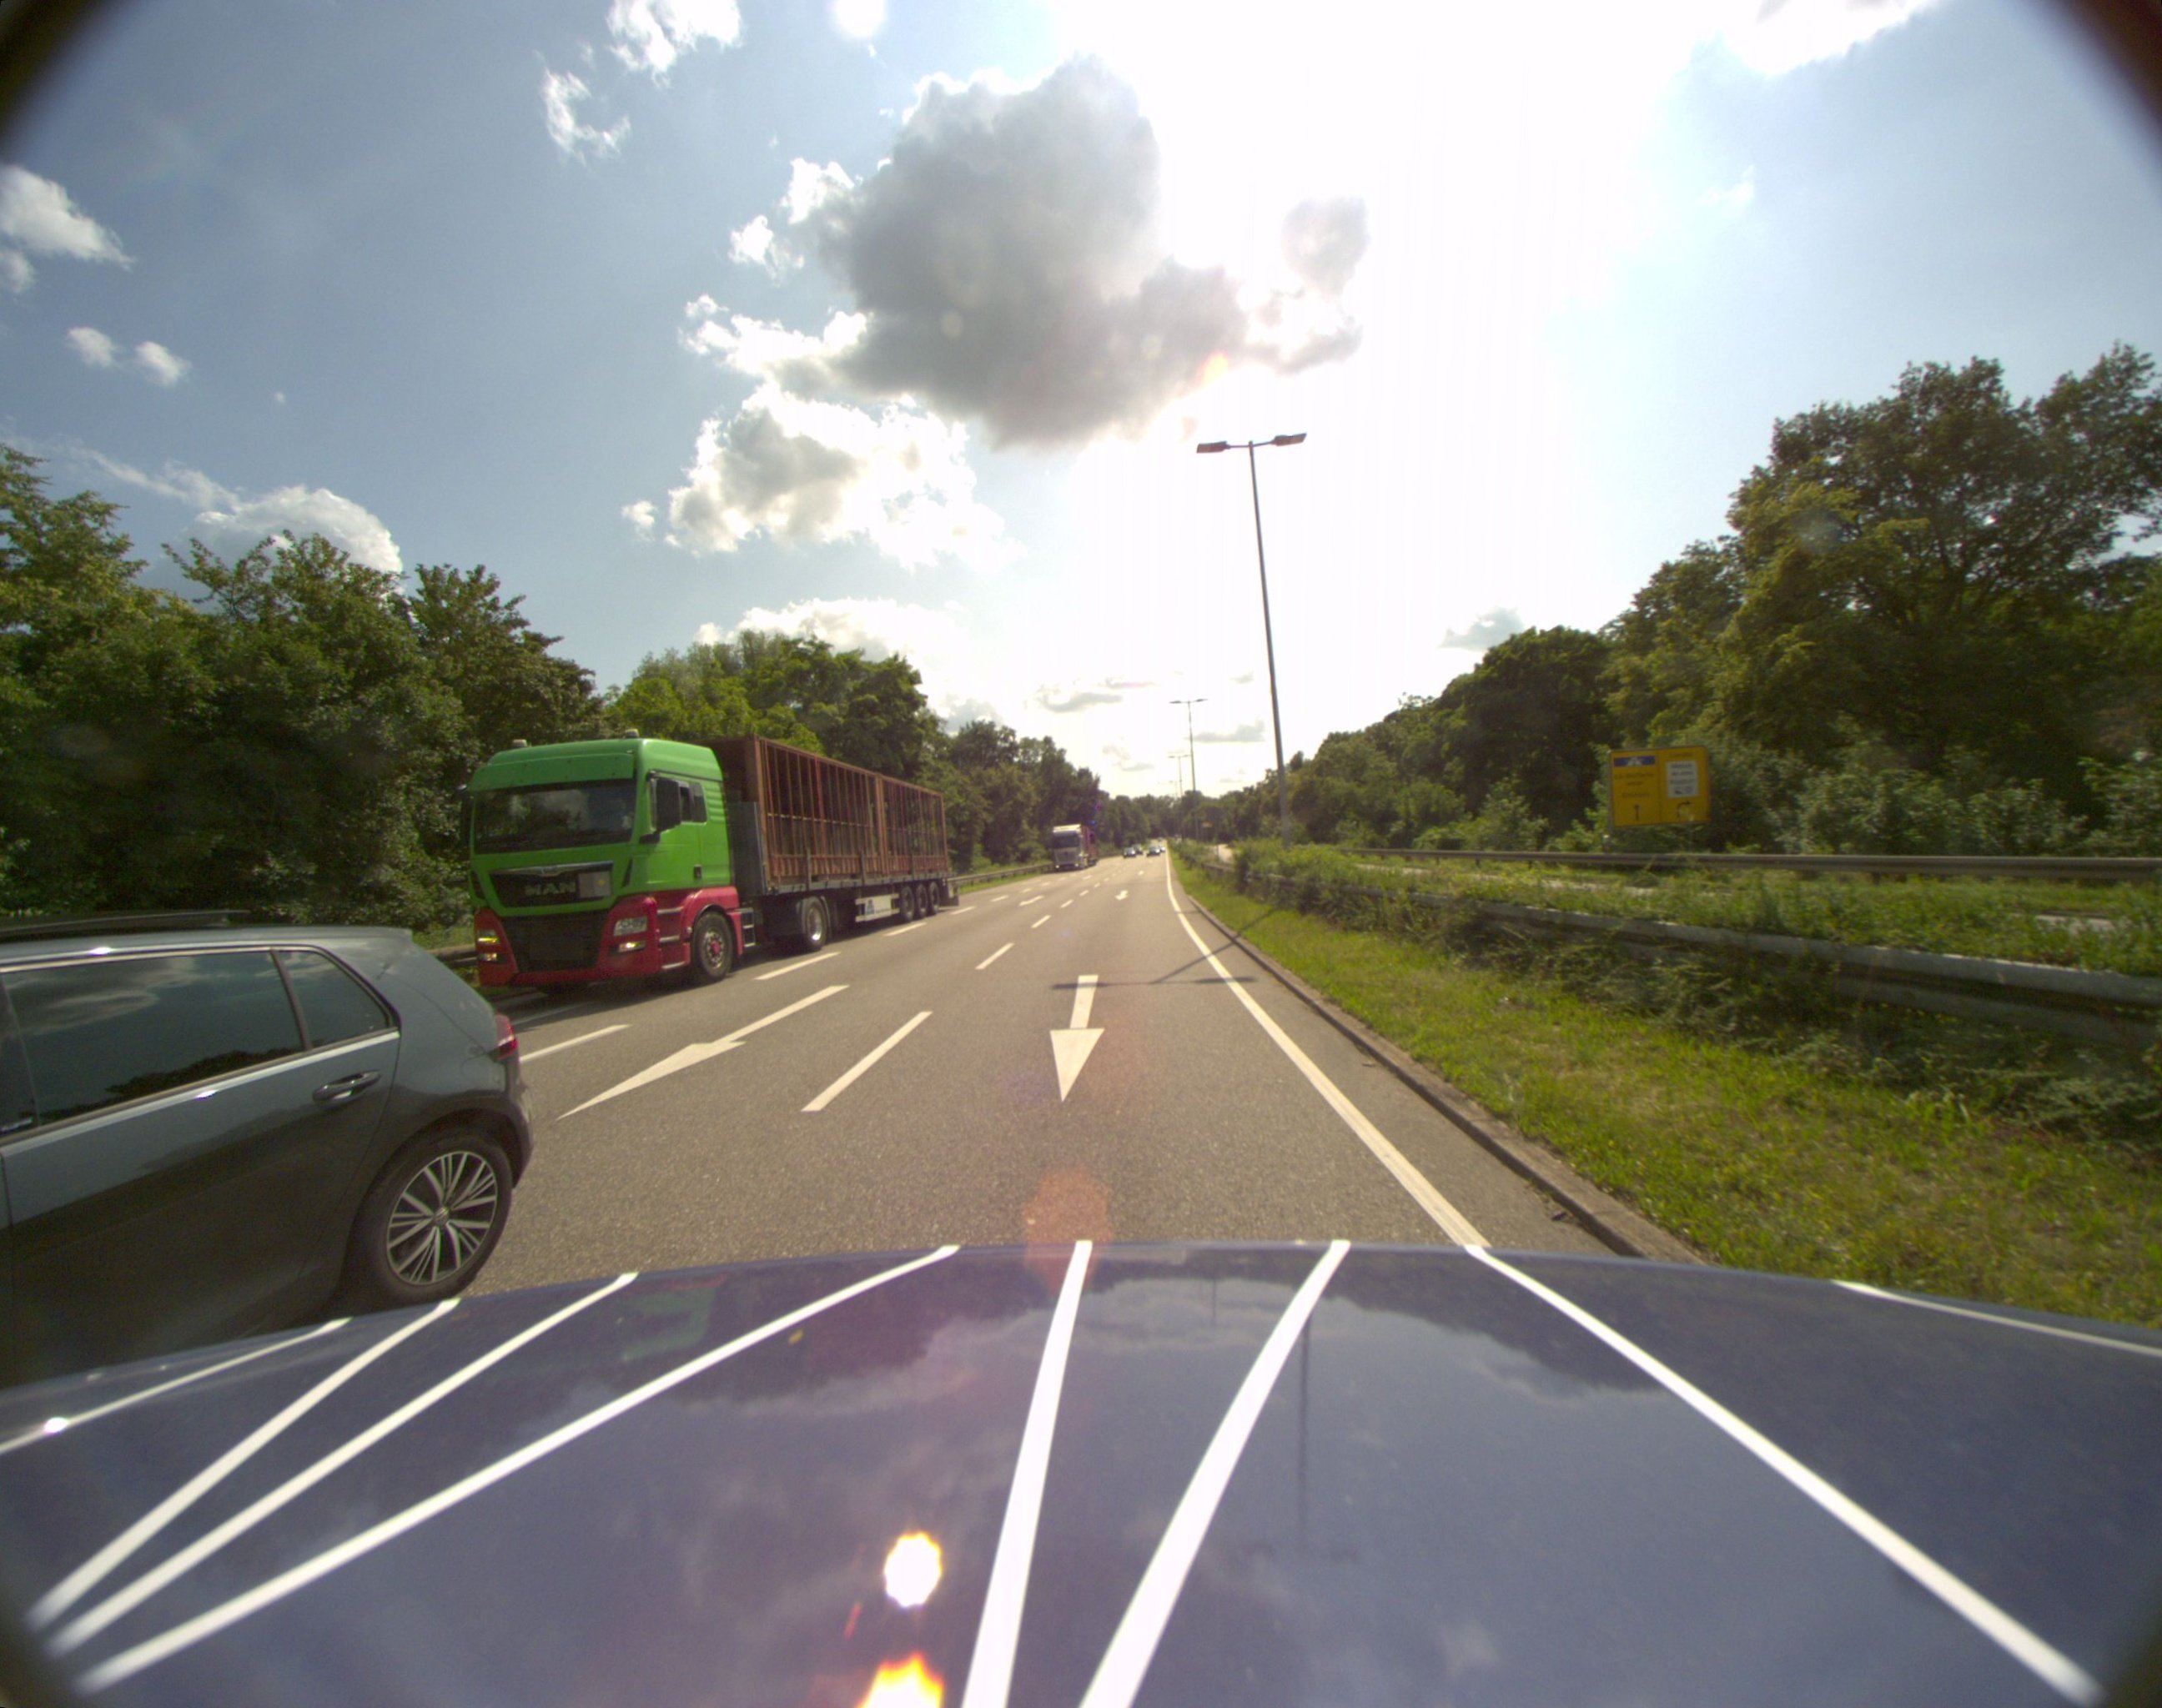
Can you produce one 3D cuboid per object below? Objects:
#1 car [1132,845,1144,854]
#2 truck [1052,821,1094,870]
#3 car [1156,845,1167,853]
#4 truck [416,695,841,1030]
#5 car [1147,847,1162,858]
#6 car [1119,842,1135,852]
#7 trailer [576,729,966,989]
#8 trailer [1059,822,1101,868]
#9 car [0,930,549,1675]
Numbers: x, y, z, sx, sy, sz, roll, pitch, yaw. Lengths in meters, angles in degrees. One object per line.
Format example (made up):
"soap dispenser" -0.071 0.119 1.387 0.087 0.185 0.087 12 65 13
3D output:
"car" 9.593 -0.726 127.576 1.998 1.330 4.001 -3 0 5
"truck" -0.643 -0.742 68.861 2.690 3.948 7.386 -5 0 6
"car" 14.233 -0.926 133.459 1.796 1.368 4.002 -3 0 7
"truck" -6.476 0.115 12.260 2.590 3.871 6.063 -5 0 4
"car" 10.062 -0.259 103.812 1.796 1.368 4.002 -3 0 7
"car" 6.661 -1.034 109.538 1.997 1.330 4.002 -3 0 8
"trailer" -5.965 0.075 19.118 2.590 3.871 14.505 -5 0 4
"trailer" 0.034 -0.843 75.774 2.694 3.948 12.396 -5 0 6
"car" -3.287 1.109 1.265 1.735 1.468 4.047 -3 0 3
